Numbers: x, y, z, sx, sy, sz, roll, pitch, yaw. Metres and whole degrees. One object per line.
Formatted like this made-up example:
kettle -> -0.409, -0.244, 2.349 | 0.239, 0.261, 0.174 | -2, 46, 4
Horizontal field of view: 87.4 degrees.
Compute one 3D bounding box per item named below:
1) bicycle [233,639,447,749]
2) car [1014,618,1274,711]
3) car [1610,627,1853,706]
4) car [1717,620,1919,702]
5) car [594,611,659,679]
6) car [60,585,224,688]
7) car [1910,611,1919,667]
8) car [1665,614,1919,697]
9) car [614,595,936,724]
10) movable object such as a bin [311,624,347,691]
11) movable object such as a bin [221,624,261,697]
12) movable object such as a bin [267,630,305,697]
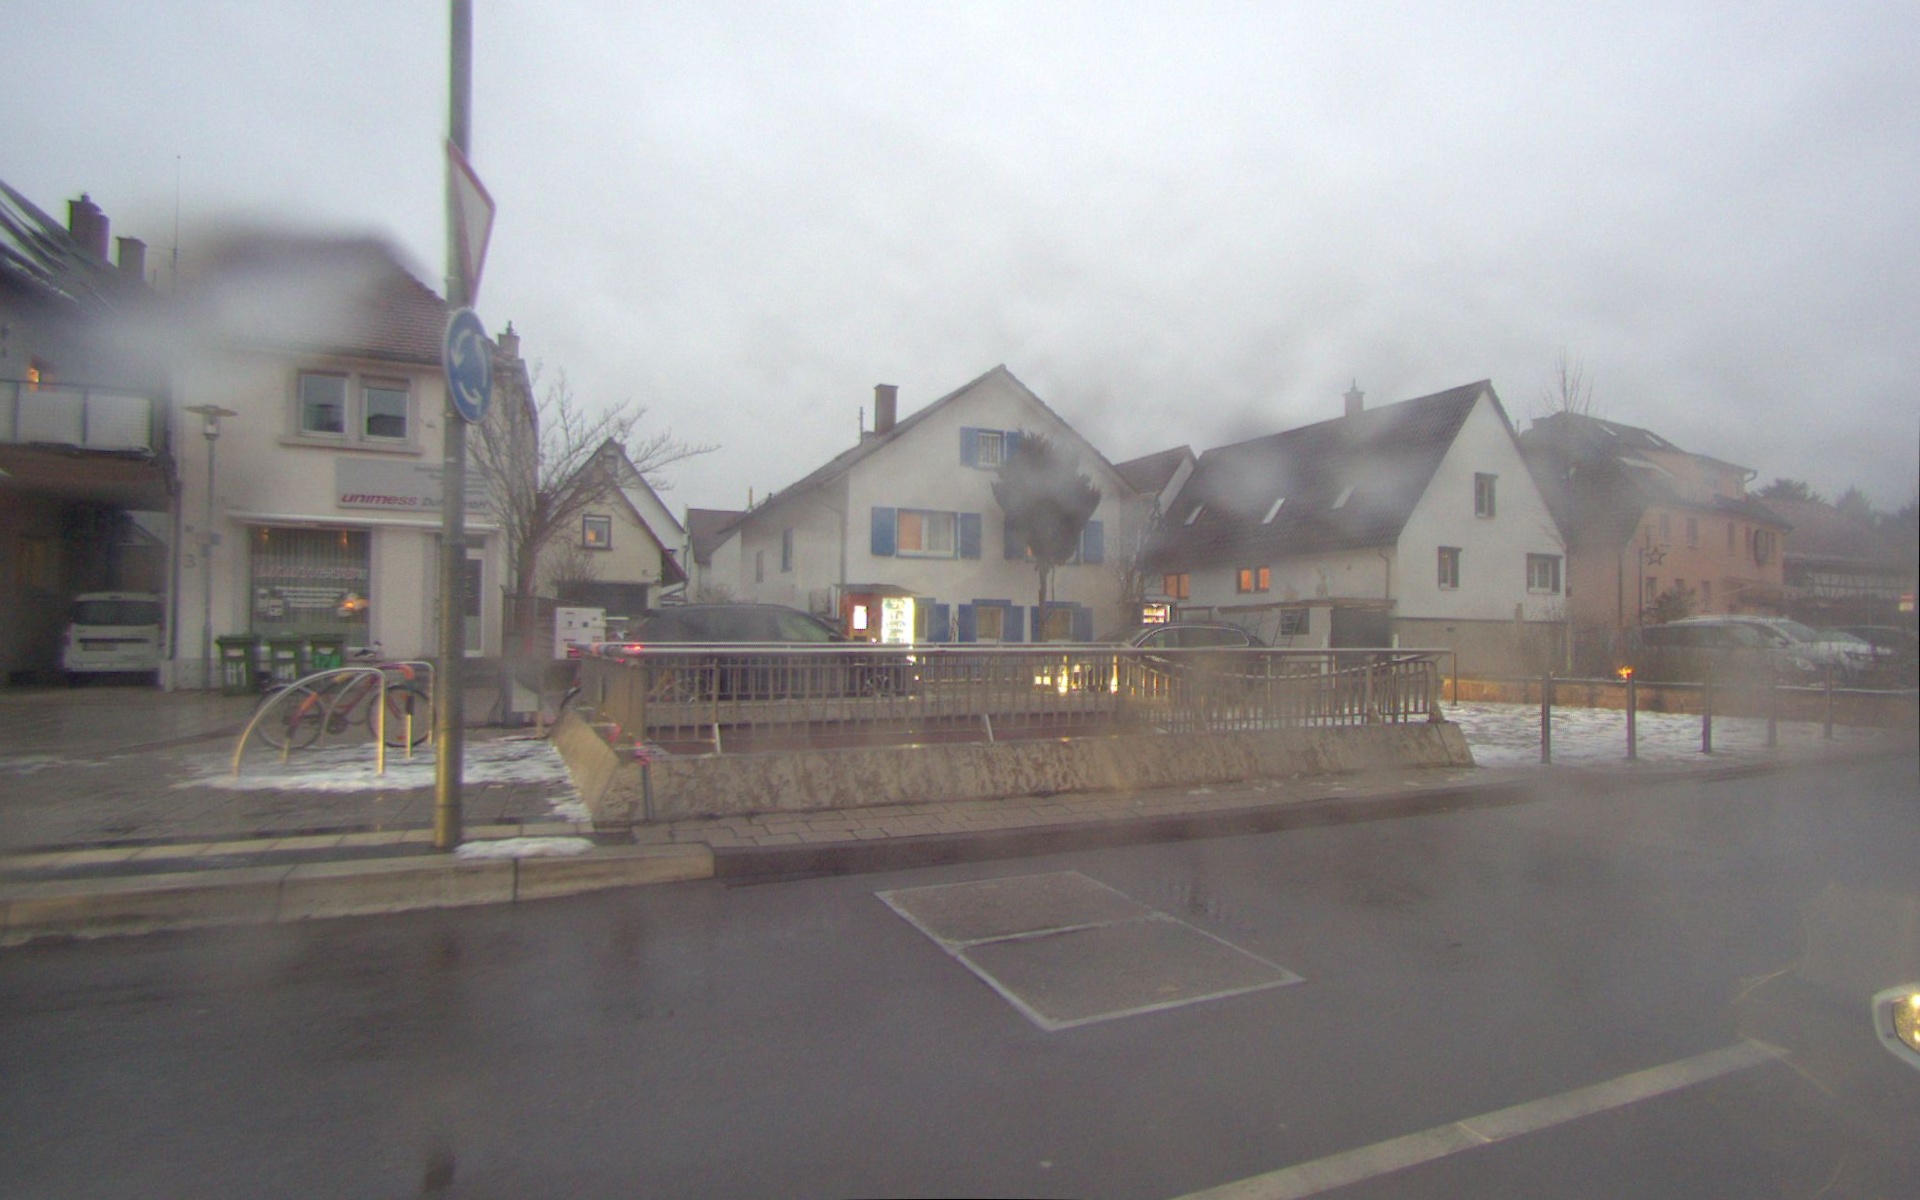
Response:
bicycle -> -6.074, 0.911, 9.918 | 1.709, 1.023, 0.470 | 1, -1, -14
car -> 3.370, 1.102, 18.220 | 4.514, 1.502, 1.796 | 0, -3, -28
car -> 14.906, 1.221, 19.580 | 1.582, 1.390, 3.428 | 1, -2, -30
car -> 19.557, 1.307, 22.362 | 1.566, 1.629, 4.080 | 2, -1, -26
car -> -10.759, 1.470, 32.254 | 1.810, 2.045, 3.566 | 0, -3, -21
car -> -16.281, 0.735, 20.179 | 1.491, 1.877, 3.411 | 2, -2, -21
car -> 31.071, 1.212, 29.278 | 1.978, 1.689, 4.601 | 2, -1, -32
car -> 17.247, 1.092, 21.015 | 1.690, 1.543, 3.785 | 2, -1, -23
car -> -2.775, 0.861, 15.163 | 4.501, 1.723, 1.751 | 1, -3, -24
movable object such as a bin -> -11.231, 1.023, 17.885 | 0.447, 1.157, 0.286 | 3, -1, -25
movable object such as a bin -> -12.421, 1.040, 17.354 | 0.447, 1.225, 0.286 | 3, -1, -25
movable object such as a bin -> -11.830, 1.110, 17.633 | 0.447, 1.135, 0.286 | 3, -1, -25
